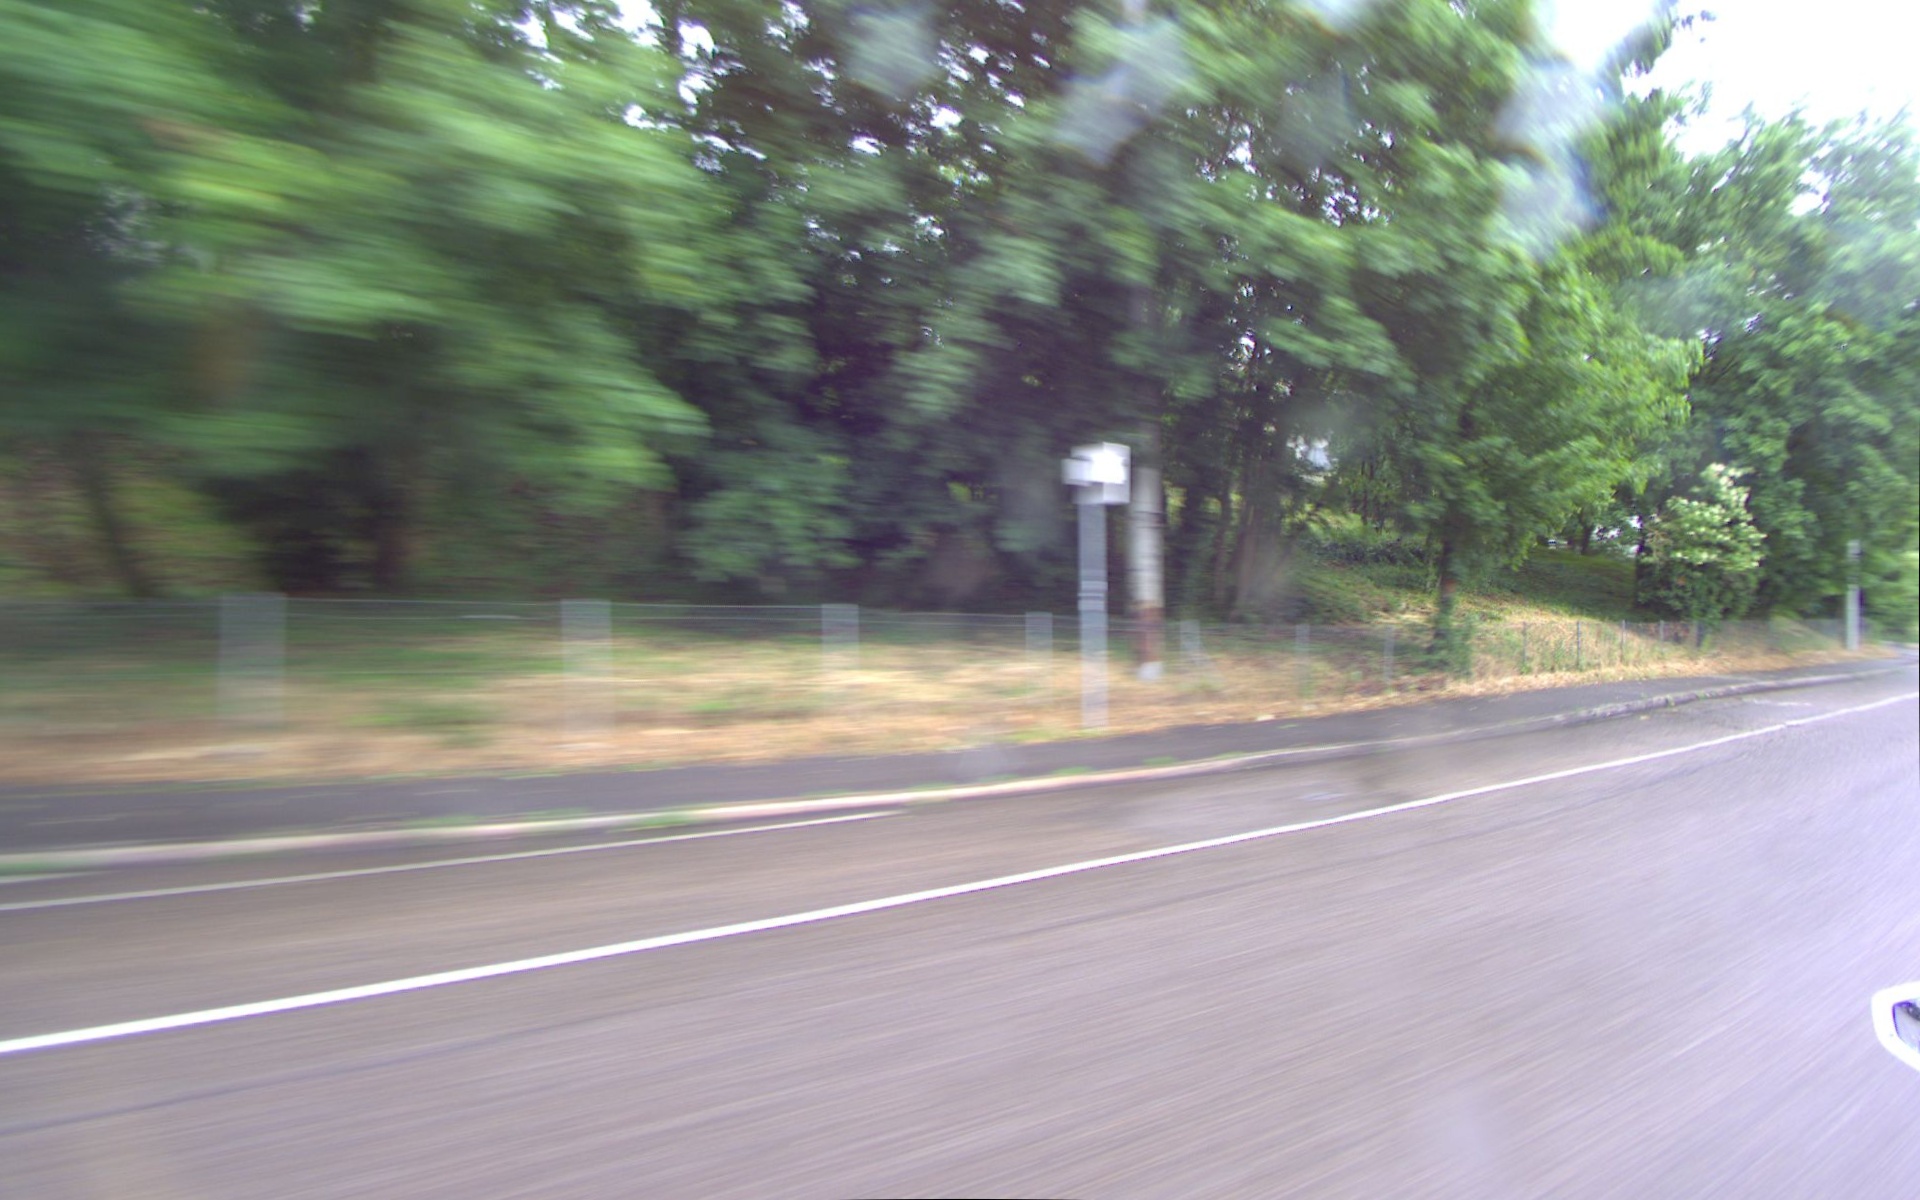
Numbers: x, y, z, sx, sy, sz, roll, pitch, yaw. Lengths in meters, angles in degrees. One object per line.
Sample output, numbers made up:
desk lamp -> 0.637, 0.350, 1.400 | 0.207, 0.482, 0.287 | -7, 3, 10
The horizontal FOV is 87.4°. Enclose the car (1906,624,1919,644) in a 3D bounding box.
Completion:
car -> 69.997, 2.503, 71.491 | 1.768, 1.426, 3.603 | 2, 1, -38
